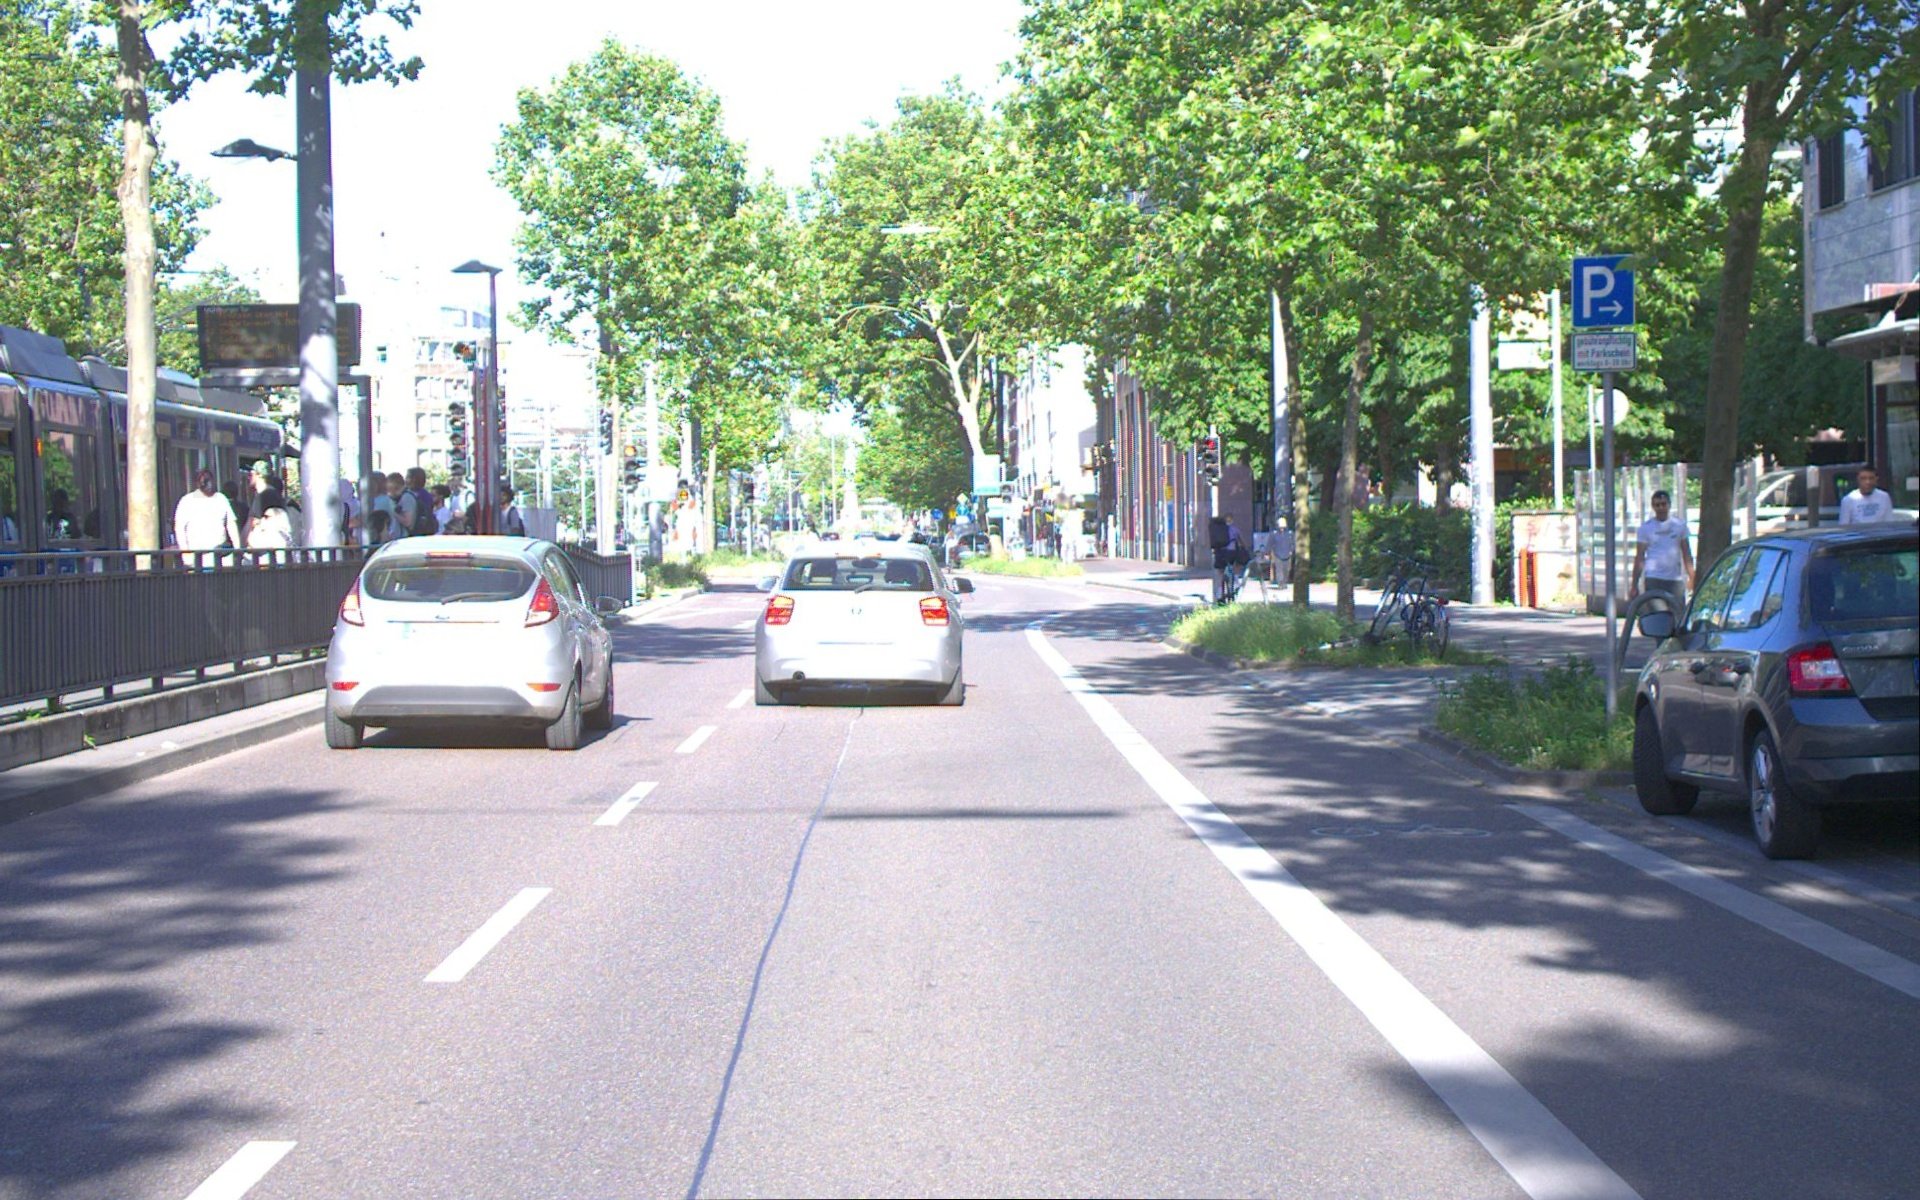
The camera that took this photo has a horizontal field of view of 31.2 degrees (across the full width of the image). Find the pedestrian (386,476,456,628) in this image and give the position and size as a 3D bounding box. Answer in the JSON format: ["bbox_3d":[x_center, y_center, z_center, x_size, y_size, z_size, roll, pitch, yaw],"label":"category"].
[{"bbox_3d":[-6.083,-0.545,38.796,0.660,1.690,0.571,-1,1,1],"label":"pedestrian"}]

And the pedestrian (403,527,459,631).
[{"bbox_3d":[-6.099,-0.245,39.625,0.545,1.188,0.531,-1,1,-1],"label":"pedestrian"}]

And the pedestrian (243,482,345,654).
[{"bbox_3d":[-5.962,-0.293,30.806,0.775,1.504,0.752,-2,1,-4],"label":"pedestrian"}]

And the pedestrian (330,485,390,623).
[{"bbox_3d":[-7.220,-0.558,41.408,0.618,1.644,0.623,-1,1,-4],"label":"pedestrian"}]

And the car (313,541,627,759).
[{"bbox_3d":[-3.365,0.301,24.173,1.660,1.404,3.632,0,1,0],"label":"car"}]

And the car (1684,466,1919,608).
[{"bbox_3d":[13.920,-1.022,53.239,4.897,1.978,1.913,-3,1,0],"label":"car"}]

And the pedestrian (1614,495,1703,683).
[{"bbox_3d":[6.472,-0.109,31.891,0.560,1.698,1.052,-1,1,-1],"label":"pedestrian"}]

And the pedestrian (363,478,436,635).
[{"bbox_3d":[-6.133,-0.478,37.646,0.660,1.690,0.571,-1,1,1],"label":"pedestrian"}]

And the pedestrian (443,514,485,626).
[{"bbox_3d":[-5.882,-0.363,40.800,0.415,1.311,0.507,-1,1,-2],"label":"pedestrian"}]

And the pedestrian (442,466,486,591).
[{"bbox_3d":[-6.948,-0.999,48.182,0.547,1.728,0.540,-1,1,-4],"label":"pedestrian"}]

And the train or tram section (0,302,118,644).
[{"bbox_3d":[-10.581,-1.229,29.545,2.914,3.249,15.894,1,0,-1],"label":"train or tram section"}]

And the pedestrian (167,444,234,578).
[{"bbox_3d":[-7.498,-0.878,33.958,0.534,1.295,0.604,-2,1,-4],"label":"pedestrian"}]

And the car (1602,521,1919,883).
[{"bbox_3d":[4.282,0.400,16.702,1.565,1.545,4.000,0,1,0],"label":"car"}]

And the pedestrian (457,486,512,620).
[{"bbox_3d":[-6.225,-0.617,44.979,0.547,1.728,0.540,-2,1,-25],"label":"pedestrian"}]

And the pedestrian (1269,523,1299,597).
[{"bbox_3d":[7.189,-0.885,76.234,0.627,1.623,0.943,0,1,8],"label":"pedestrian"}]

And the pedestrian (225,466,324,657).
[{"bbox_3d":[-6.398,-0.361,32.120,0.775,1.746,0.723,-2,1,-4],"label":"pedestrian"}]

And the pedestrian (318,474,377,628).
[{"bbox_3d":[-6.834,-0.549,38.360,0.514,1.702,0.621,-1,1,-1],"label":"pedestrian"}]

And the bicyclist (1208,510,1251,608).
[{"bbox_3d":[4.658,-0.711,59.329,0.658,1.651,0.764,-1,1,8],"label":"bicyclist"}]

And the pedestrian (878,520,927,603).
[{"bbox_3d":[-1.095,-0.731,65.167,0.830,1.570,0.739,0,0,7],"label":"pedestrian"}]

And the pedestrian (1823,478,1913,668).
[{"bbox_3d":[8.510,-0.258,32.247,0.560,1.738,0.879,-1,1,-1],"label":"pedestrian"}]

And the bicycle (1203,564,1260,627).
[{"bbox_3d":[4.682,-0.082,59.249,0.832,1.038,1.874,-1,1,8],"label":"bicycle"}]

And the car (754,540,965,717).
[{"bbox_3d":[-0.871,0.205,30.372,1.730,1.385,3.840,1,2,-1],"label":"car"}]

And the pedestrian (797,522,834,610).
[{"bbox_3d":[-2.699,-0.625,64.210,0.639,1.614,0.642,-1,-2,-4],"label":"pedestrian"}]

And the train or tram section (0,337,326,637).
[{"bbox_3d":[-10.744,-1.256,44.047,2.914,3.249,13.113,1,0,-1],"label":"train or tram section"}]

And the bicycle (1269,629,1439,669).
[{"bbox_3d":[4.128,0.512,36.170,1.608,0.352,1.389,-1,1,0],"label":"bicycle"}]

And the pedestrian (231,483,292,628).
[{"bbox_3d":[-8.252,-0.529,40.635,0.608,1.696,0.546,-1,1,-4],"label":"pedestrian"}]

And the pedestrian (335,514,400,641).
[{"bbox_3d":[-5.889,-0.227,34.172,0.534,1.242,0.604,-1,1,-2],"label":"pedestrian"}]

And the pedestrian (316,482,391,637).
[{"bbox_3d":[-6.495,-0.436,36.823,0.660,1.628,0.571,-1,1,1],"label":"pedestrian"}]

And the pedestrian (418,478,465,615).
[{"bbox_3d":[-6.521,-0.675,43.268,0.505,1.696,0.612,-1,1,-4],"label":"pedestrian"}]

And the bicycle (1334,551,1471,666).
[{"bbox_3d":[4.548,0.072,35.485,0.788,1.129,1.847,-1,1,-13],"label":"bicycle"}]
